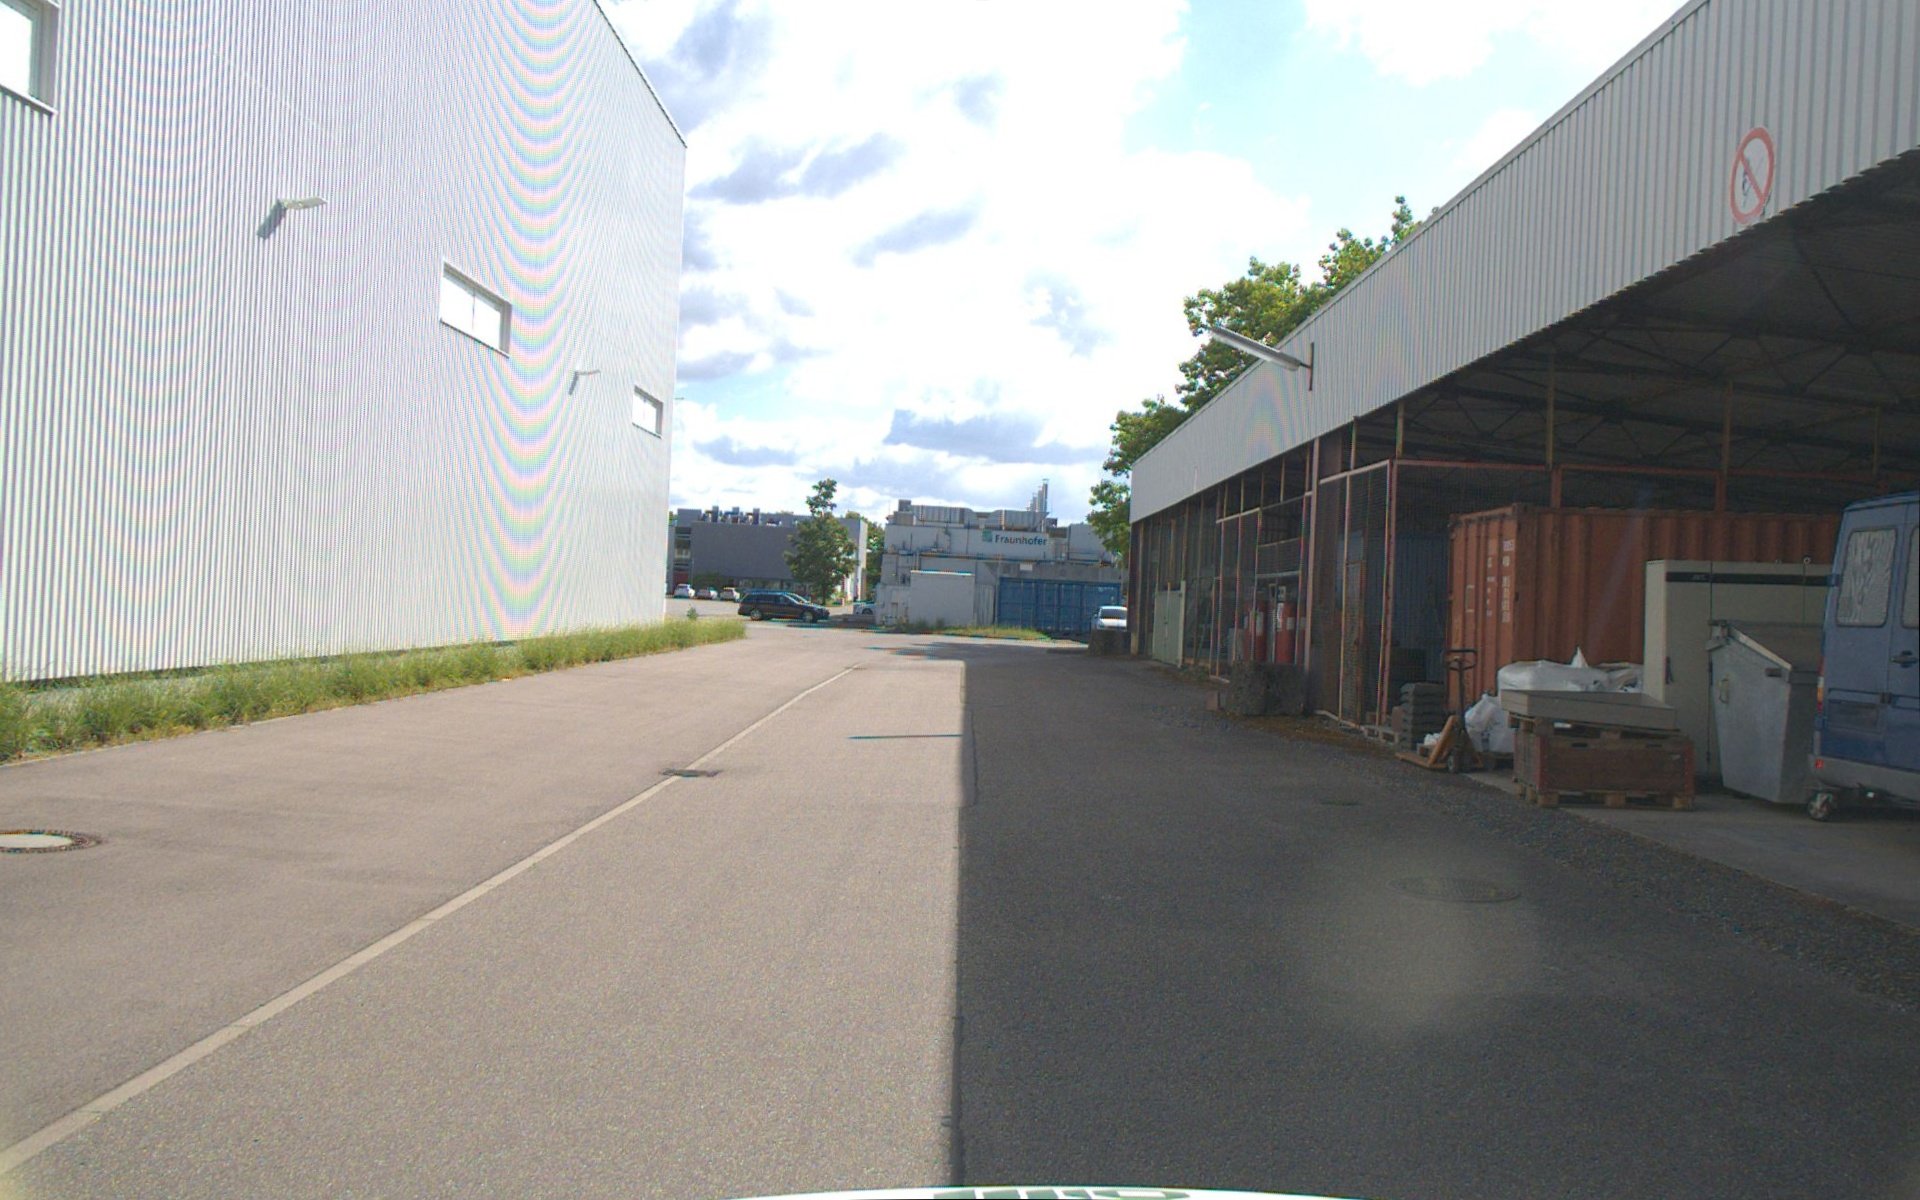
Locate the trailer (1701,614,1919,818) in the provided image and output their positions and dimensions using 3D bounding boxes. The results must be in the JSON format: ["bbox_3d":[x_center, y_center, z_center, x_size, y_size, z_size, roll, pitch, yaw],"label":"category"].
[{"bbox_3d":[7.275,0.896,13.142,2.050,1.488,1.642,2,-1,3],"label":"trailer"}]

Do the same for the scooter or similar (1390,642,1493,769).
[{"bbox_3d":[4.720,1.010,16.300,0.510,1.154,1.592,2,-1,0],"label":"scooter or similar"}]

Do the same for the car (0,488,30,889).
[{"bbox_3d":[-5.267,0.348,5.272,1.889,1.821,4.597,4,0,0],"label":"car"}]

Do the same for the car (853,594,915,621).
[{"bbox_3d":[-5.280,0.525,115.201,4.192,1.596,1.987,2,-2,0],"label":"car"}]

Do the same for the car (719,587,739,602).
[{"bbox_3d":[-25.728,-0.617,184.326,1.840,1.564,4.033,1,0,-2],"label":"car"}]

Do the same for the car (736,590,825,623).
[{"bbox_3d":[-9.445,0.348,87.424,4.437,1.468,1.987,2,-2,0],"label":"car"}]

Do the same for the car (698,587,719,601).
[{"bbox_3d":[-28.008,-0.654,184.087,1.840,1.564,4.033,1,0,-2],"label":"car"}]

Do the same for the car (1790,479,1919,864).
[{"bbox_3d":[8.384,0.515,10.549,5.110,2.337,2.083,2,-1,-1],"label":"car"}]

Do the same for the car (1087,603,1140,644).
[{"bbox_3d":[6.916,1.027,74.949,1.941,1.621,4.340,3,1,0],"label":"car"}]

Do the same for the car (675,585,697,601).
[{"bbox_3d":[-30.522,-0.771,184.220,1.840,1.719,4.033,1,0,-2],"label":"car"}]
